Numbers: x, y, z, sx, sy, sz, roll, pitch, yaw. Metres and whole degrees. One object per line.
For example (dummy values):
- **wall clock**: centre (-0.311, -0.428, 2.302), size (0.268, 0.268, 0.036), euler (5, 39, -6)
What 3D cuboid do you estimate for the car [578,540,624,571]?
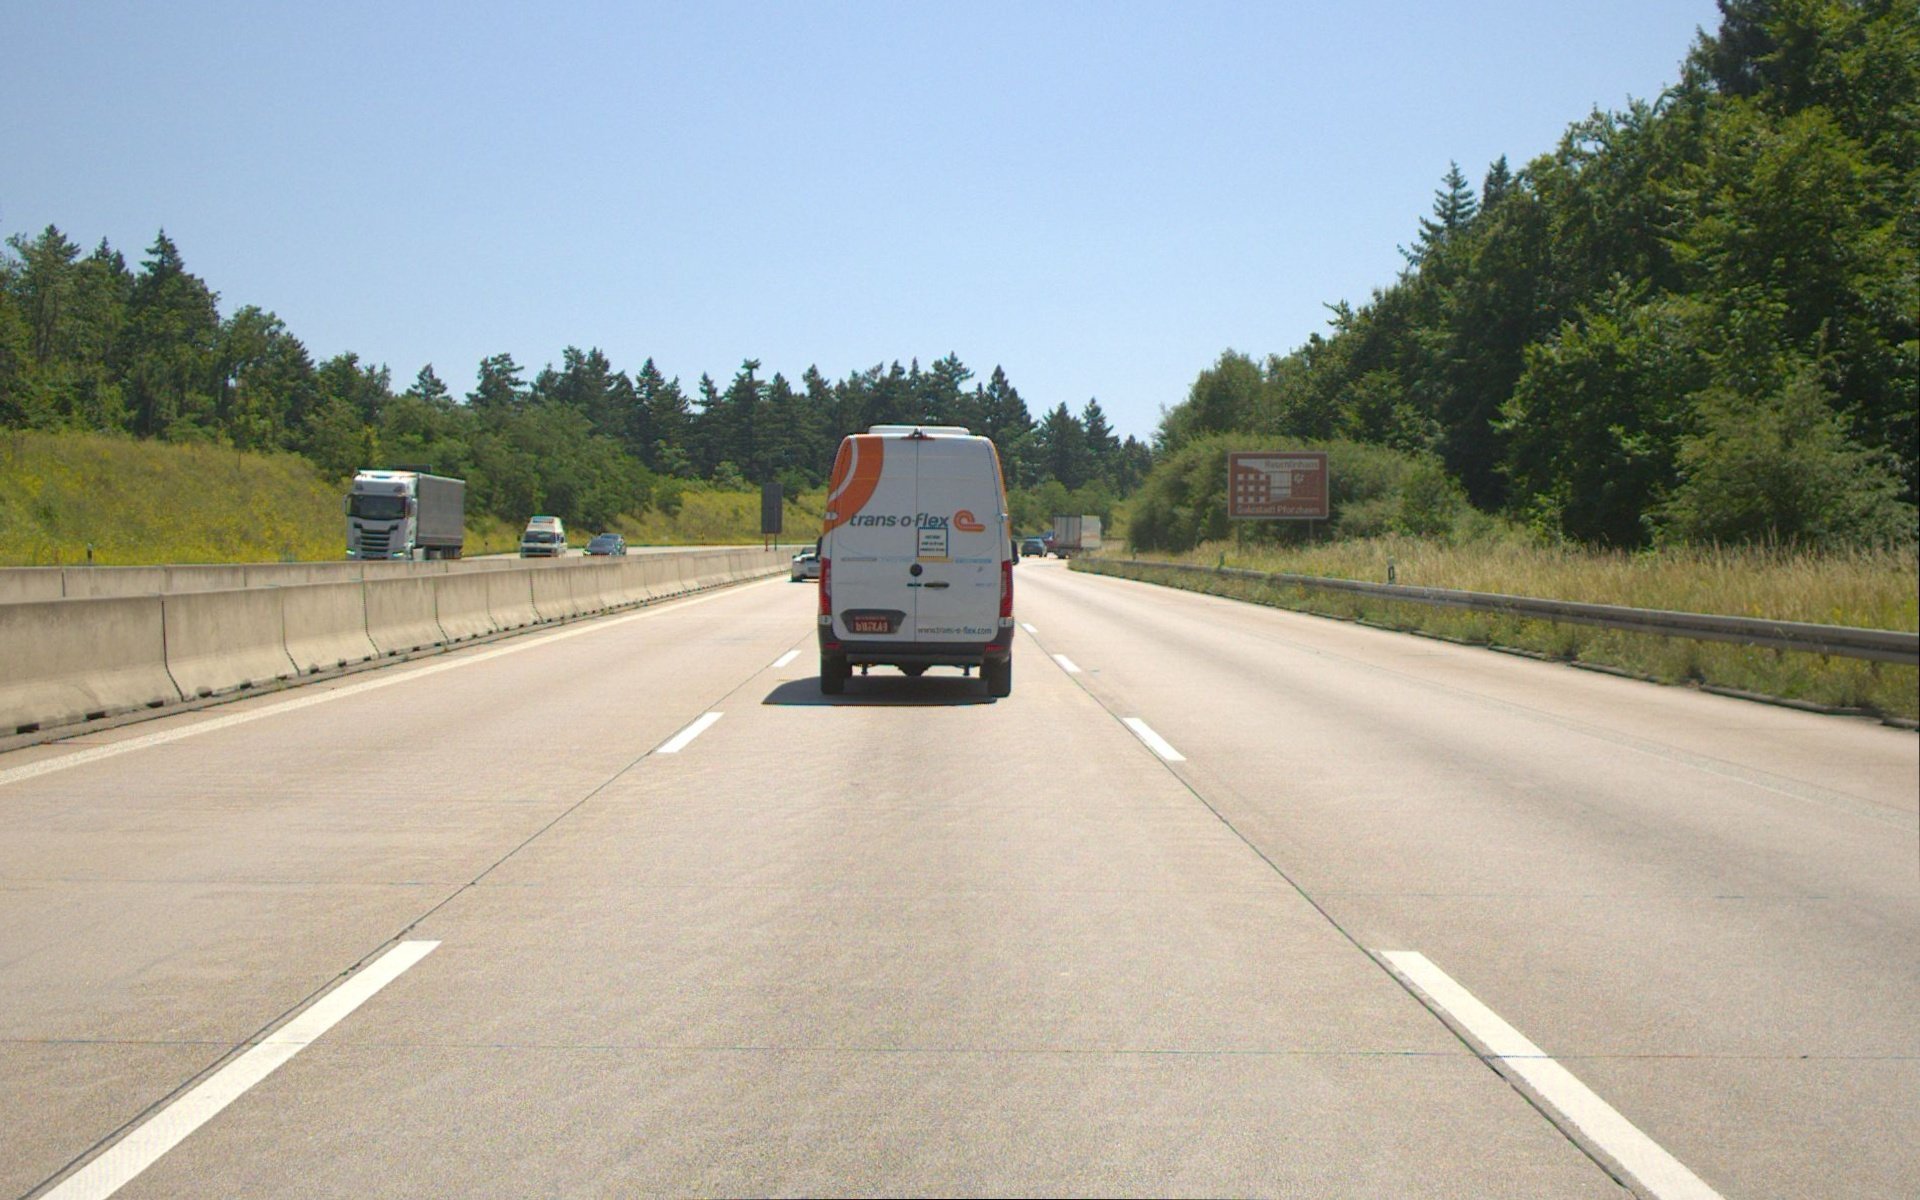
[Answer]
- **car**: centre (-19.003, -2.364, 182.200), size (1.993, 1.577, 4.042), euler (1, 1, 0)

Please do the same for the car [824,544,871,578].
- **car**: centre (-5.623, -1.938, 172.117), size (1.994, 1.678, 3.999), euler (1, 0, 4)

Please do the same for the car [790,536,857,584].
- **car**: centre (-4.909, -1.424, 124.059), size (1.994, 1.678, 3.999), euler (1, 0, 4)

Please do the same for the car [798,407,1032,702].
- **car**: centre (-0.476, -0.492, 36.276), size (2.226, 2.834, 5.454), euler (1, 1, -1)

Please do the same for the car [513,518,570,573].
- **car**: centre (-19.498, -2.535, 160.239), size (1.993, 2.477, 5.179), euler (1, 1, 0)

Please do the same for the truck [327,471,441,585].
- **truck**: centre (-23.549, -2.876, 140.929), size (3.256, 4.489, 7.985), euler (1, 0, 0)

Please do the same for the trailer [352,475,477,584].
- **trailer**: centre (-23.542, -2.956, 149.097), size (3.256, 4.489, 13.120), euler (1, 0, 0)
